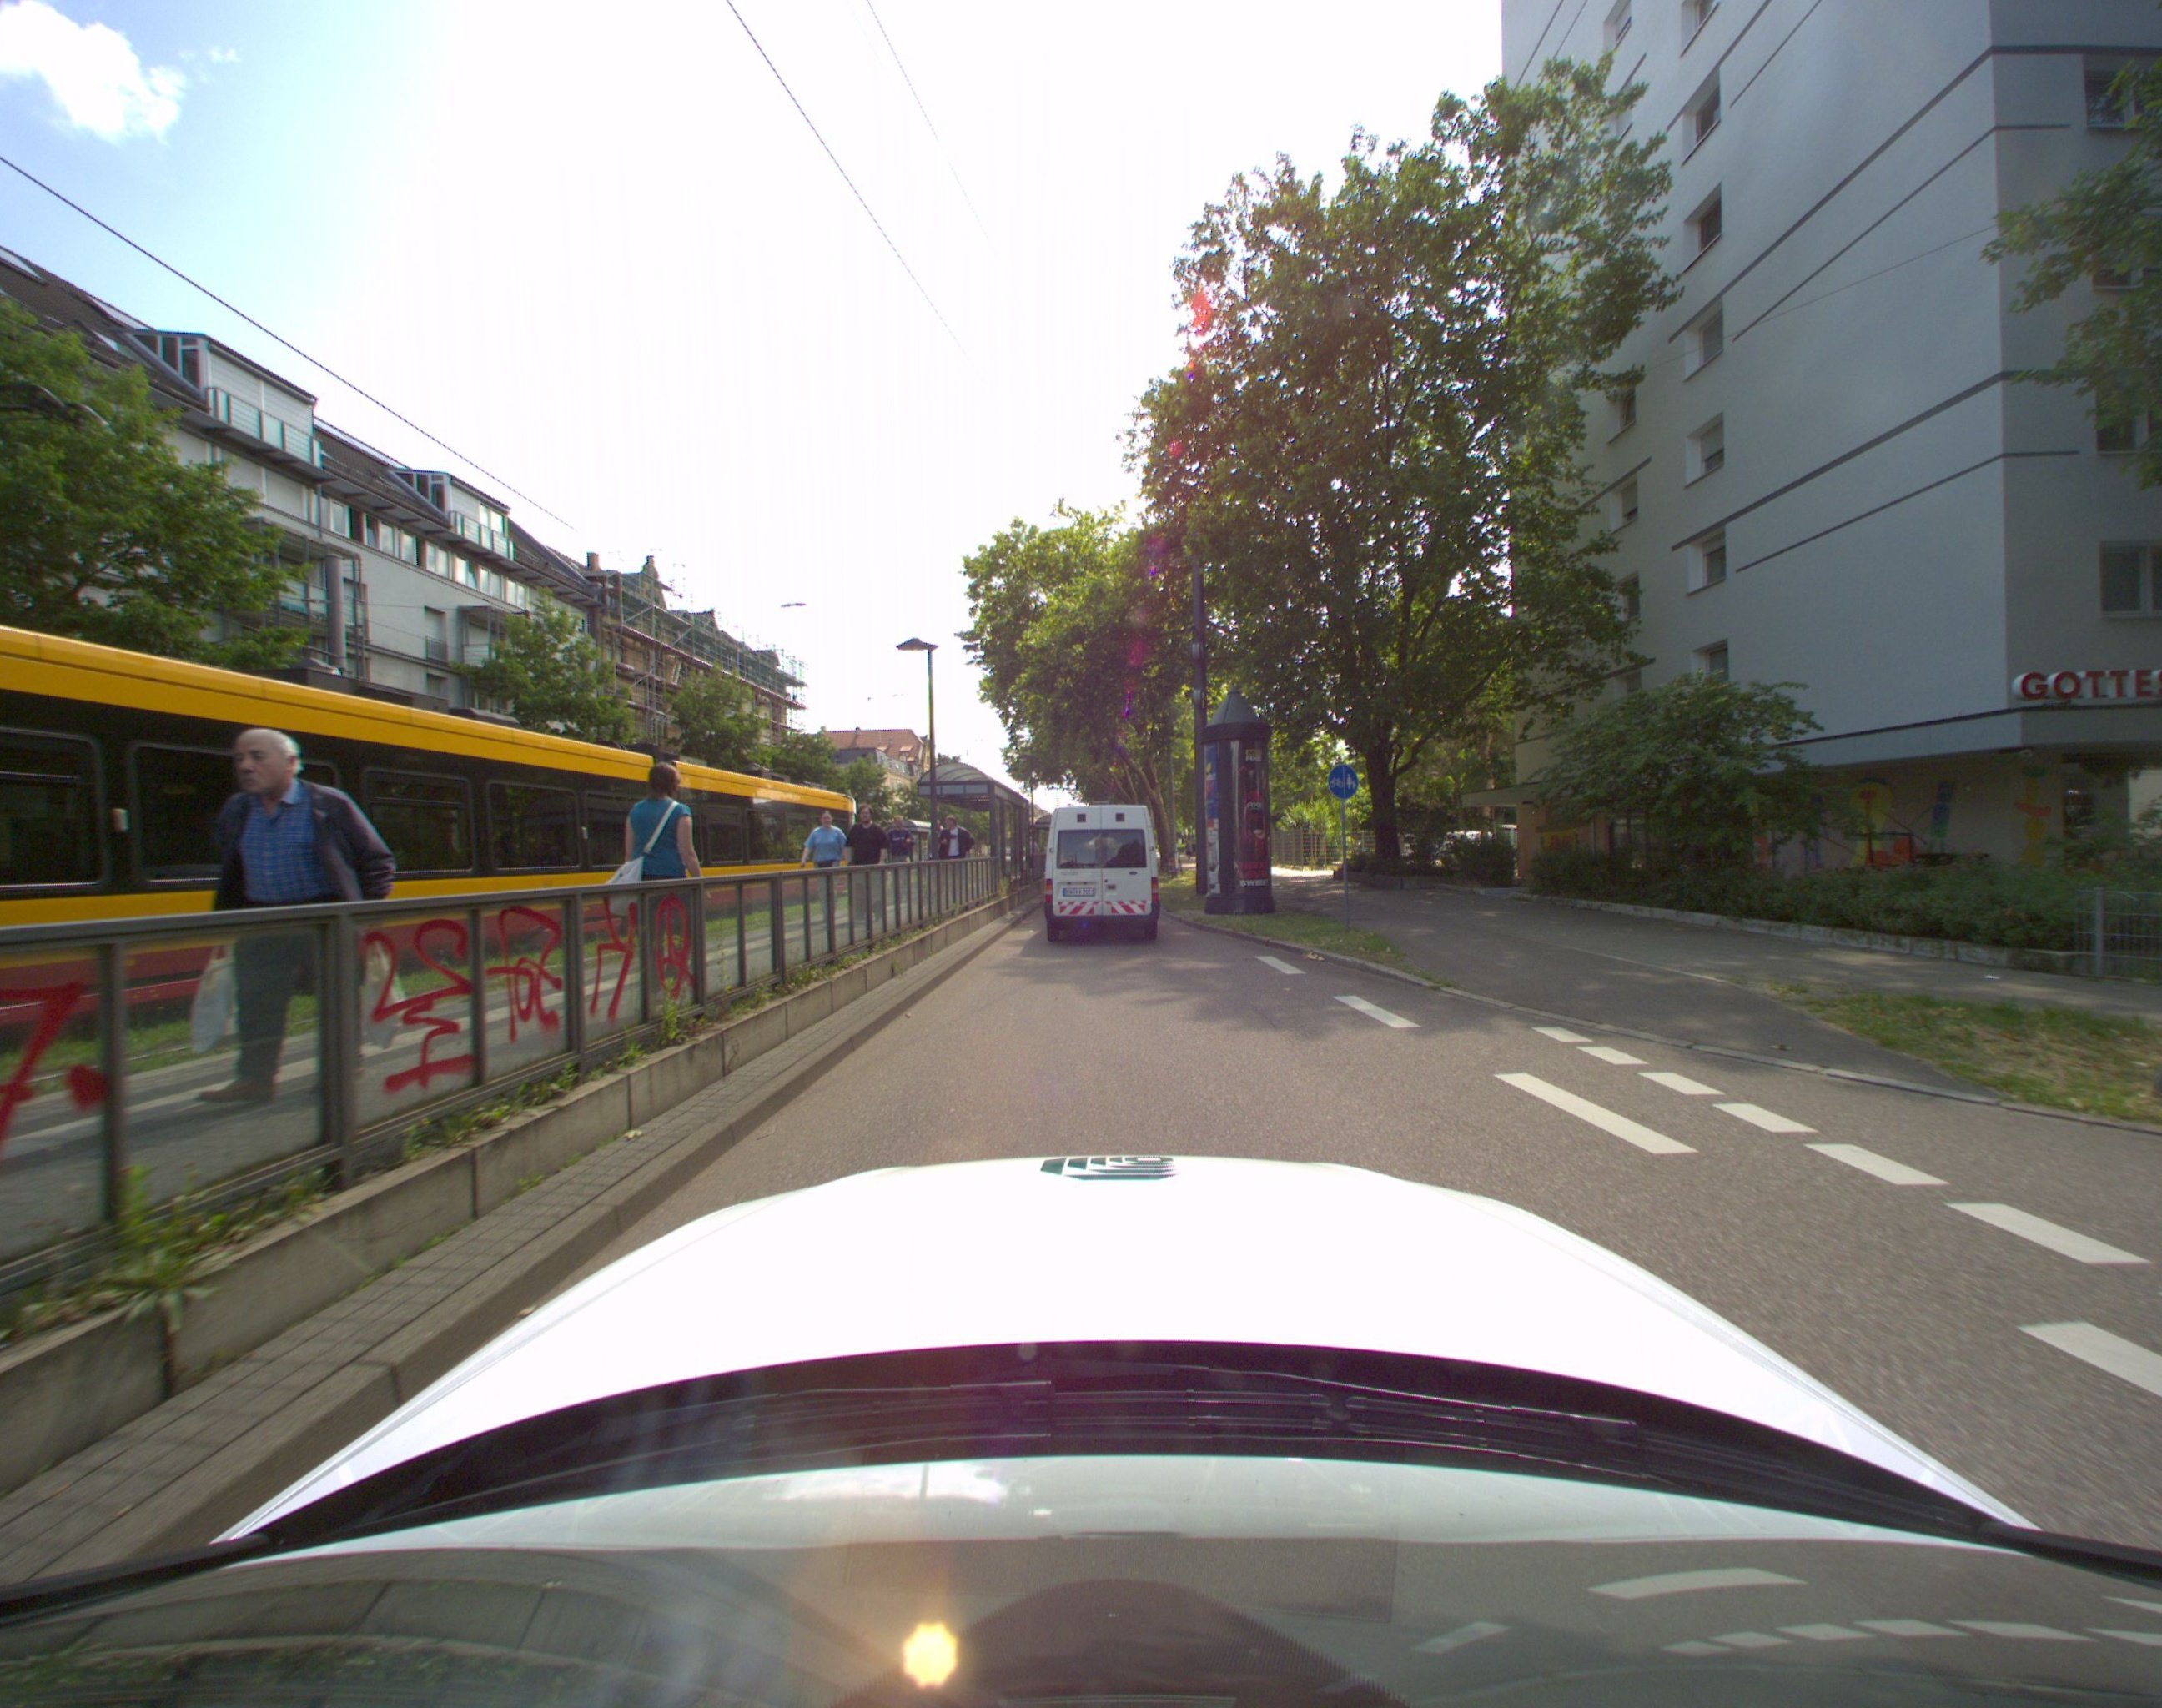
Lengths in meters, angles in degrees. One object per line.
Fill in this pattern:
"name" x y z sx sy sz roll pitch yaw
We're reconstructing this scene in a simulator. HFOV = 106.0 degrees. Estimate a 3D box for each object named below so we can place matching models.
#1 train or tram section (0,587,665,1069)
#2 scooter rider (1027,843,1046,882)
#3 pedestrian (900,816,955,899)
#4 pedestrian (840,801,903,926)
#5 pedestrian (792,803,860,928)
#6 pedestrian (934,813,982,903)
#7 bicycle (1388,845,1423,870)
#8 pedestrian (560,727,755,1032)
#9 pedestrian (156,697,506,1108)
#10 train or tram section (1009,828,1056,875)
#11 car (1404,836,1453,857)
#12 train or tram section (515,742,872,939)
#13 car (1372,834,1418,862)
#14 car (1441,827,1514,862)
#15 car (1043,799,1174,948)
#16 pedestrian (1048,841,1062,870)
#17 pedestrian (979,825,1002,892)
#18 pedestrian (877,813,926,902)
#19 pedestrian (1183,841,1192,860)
"train or tram section" -9.275 -0.201 9.783 2.785 3.584 10.409 -1 0 2
"scooter rider" -1.789 0.333 32.969 0.652 1.570 0.901 -2 0 1
"pedestrian" -3.493 0.071 18.681 0.883 1.800 1.495 -2 0 1
"pedestrian" -3.232 0.142 12.614 0.698 1.849 0.789 -2 0 1
"pedestrian" -3.951 0.168 12.667 0.698 1.849 0.908 -2 0 1
"pedestrian" -2.637 0.075 17.539 0.807 1.872 1.031 -2 0 1
"bicycle" 14.212 0.148 35.734 0.605 1.073 1.835 -2 1 -7
"pedestrian" -2.841 0.160 5.555 0.824 1.899 0.847 -1 0 2
"pedestrian" -3.586 0.213 3.995 0.854 1.775 0.877 -1 0 2
"train or tram section" -3.986 -0.253 69.757 2.713 3.584 13.023 -1 0 2
"car" 24.466 -0.526 57.432 1.800 1.402 4.049 -1 0 2
"train or tram section" -8.838 -0.299 21.551 2.713 3.584 13.023 -1 0 2
"car" 22.037 -0.442 57.256 1.799 1.814 4.344 -1 0 4
"car" 21.919 -0.521 45.285 1.731 1.755 4.772 -1 0 0
"car" 0.519 0.284 15.516 2.039 2.333 4.717 -2 1 2
"pedestrian" -1.420 0.074 44.726 0.673 1.515 0.596 -2 0 1
"pedestrian" -2.593 0.130 23.384 0.472 1.900 0.533 -2 0 -23
"pedestrian" -3.816 0.067 17.372 0.709 1.800 1.133 -2 0 1
"pedestrian" 9.388 -0.336 71.696 0.691 1.625 0.637 -2 0 1
